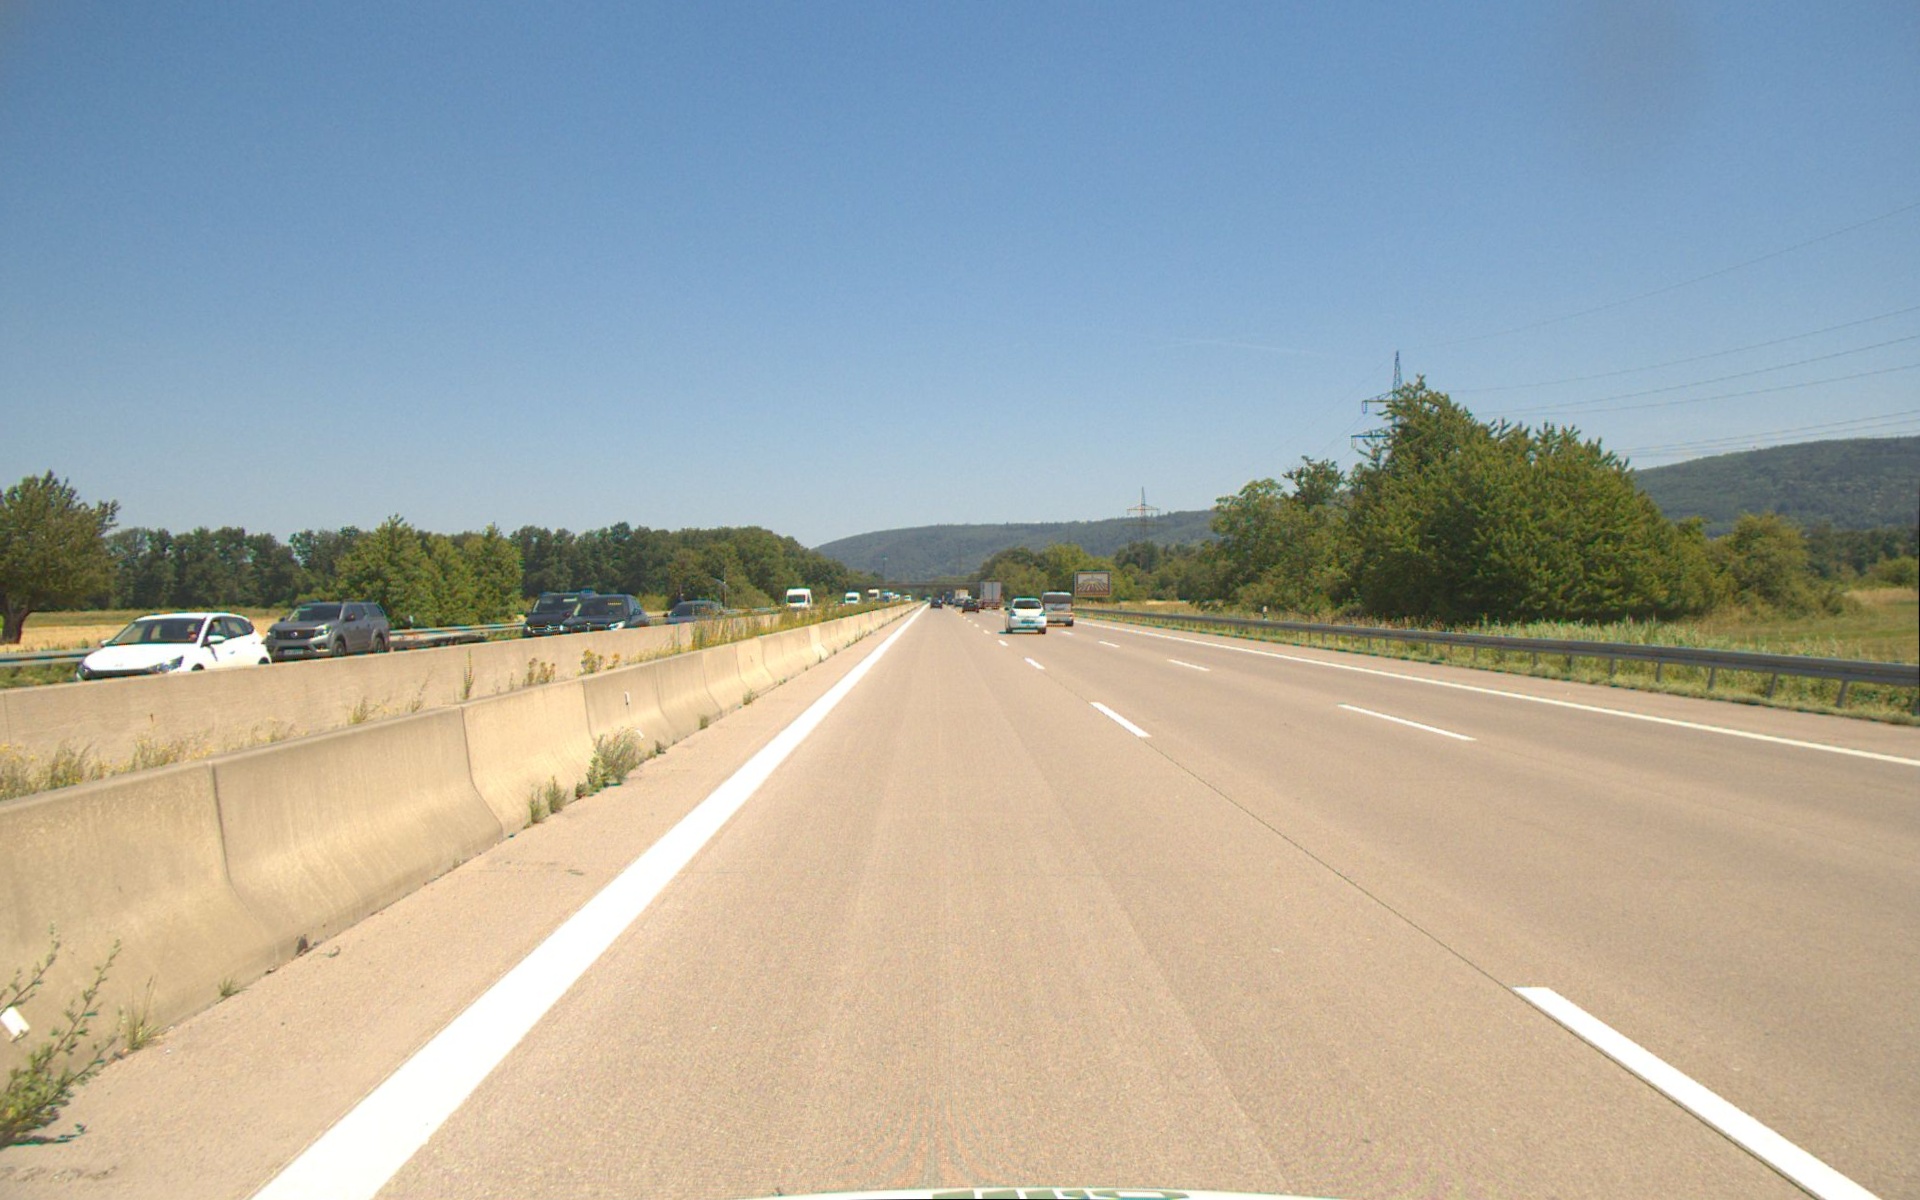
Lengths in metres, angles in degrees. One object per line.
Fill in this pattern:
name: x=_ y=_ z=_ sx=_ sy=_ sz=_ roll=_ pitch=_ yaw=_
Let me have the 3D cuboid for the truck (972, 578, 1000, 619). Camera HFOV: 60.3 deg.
truck: x=3.865 y=-0.263 z=245.645 sx=3.646 sy=5.913 sz=7.050 roll=1 pitch=0 yaw=-2

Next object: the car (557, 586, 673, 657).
car: x=-9.032 y=0.529 z=43.698 sx=1.952 sy=1.747 sz=5.030 roll=1 pitch=0 yaw=0

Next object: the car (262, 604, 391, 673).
car: x=-17.086 y=1.001 z=44.842 sx=1.953 sy=1.747 sz=4.299 roll=1 pitch=0 yaw=-2

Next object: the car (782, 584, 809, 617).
car: x=-14.911 y=0.030 z=150.228 sx=2.219 sy=2.837 sz=7.065 roll=1 pitch=0 yaw=-4

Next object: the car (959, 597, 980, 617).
car: x=0.998 y=0.718 z=171.829 sx=1.954 sy=1.881 sz=3.998 roll=3 pitch=0 yaw=-2

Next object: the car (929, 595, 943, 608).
car: x=-3.388 y=0.212 z=233.413 sx=1.890 sy=1.825 sz=3.999 roll=1 pitch=0 yaw=-2

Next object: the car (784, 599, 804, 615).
car: x=-17.638 y=0.737 z=175.809 sx=1.718 sy=1.713 sz=4.841 roll=1 pitch=0 yaw=-1

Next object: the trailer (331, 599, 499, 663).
trailer: x=-17.351 y=0.896 z=53.467 sx=2.192 sy=1.776 sz=10.541 roll=-1 pitch=0 yaw=-2

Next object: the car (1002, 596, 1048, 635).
car: x=2.856 y=0.664 z=73.108 sx=1.782 sy=1.691 sz=3.999 roll=0 pitch=0 yaw=-2

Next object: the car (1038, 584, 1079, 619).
car: x=5.587 y=0.064 z=94.167 sx=1.953 sy=1.881 sz=3.999 roll=1 pitch=0 yaw=-1

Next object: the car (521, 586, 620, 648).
car: x=-12.677 y=0.519 z=54.103 sx=1.952 sy=1.911 sz=5.184 roll=1 pitch=0 yaw=0

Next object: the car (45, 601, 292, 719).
car: x=-12.861 y=0.926 z=27.233 sx=1.953 sy=1.747 sz=4.611 roll=1 pitch=-1 yaw=-2

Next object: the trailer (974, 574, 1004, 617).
trailer: x=4.114 y=-0.631 z=239.047 sx=3.646 sy=5.913 sz=12.156 roll=1 pitch=0 yaw=-2

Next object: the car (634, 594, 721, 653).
car: x=-8.725 y=0.689 z=51.413 sx=1.952 sy=1.747 sz=4.000 roll=1 pitch=0 yaw=0
